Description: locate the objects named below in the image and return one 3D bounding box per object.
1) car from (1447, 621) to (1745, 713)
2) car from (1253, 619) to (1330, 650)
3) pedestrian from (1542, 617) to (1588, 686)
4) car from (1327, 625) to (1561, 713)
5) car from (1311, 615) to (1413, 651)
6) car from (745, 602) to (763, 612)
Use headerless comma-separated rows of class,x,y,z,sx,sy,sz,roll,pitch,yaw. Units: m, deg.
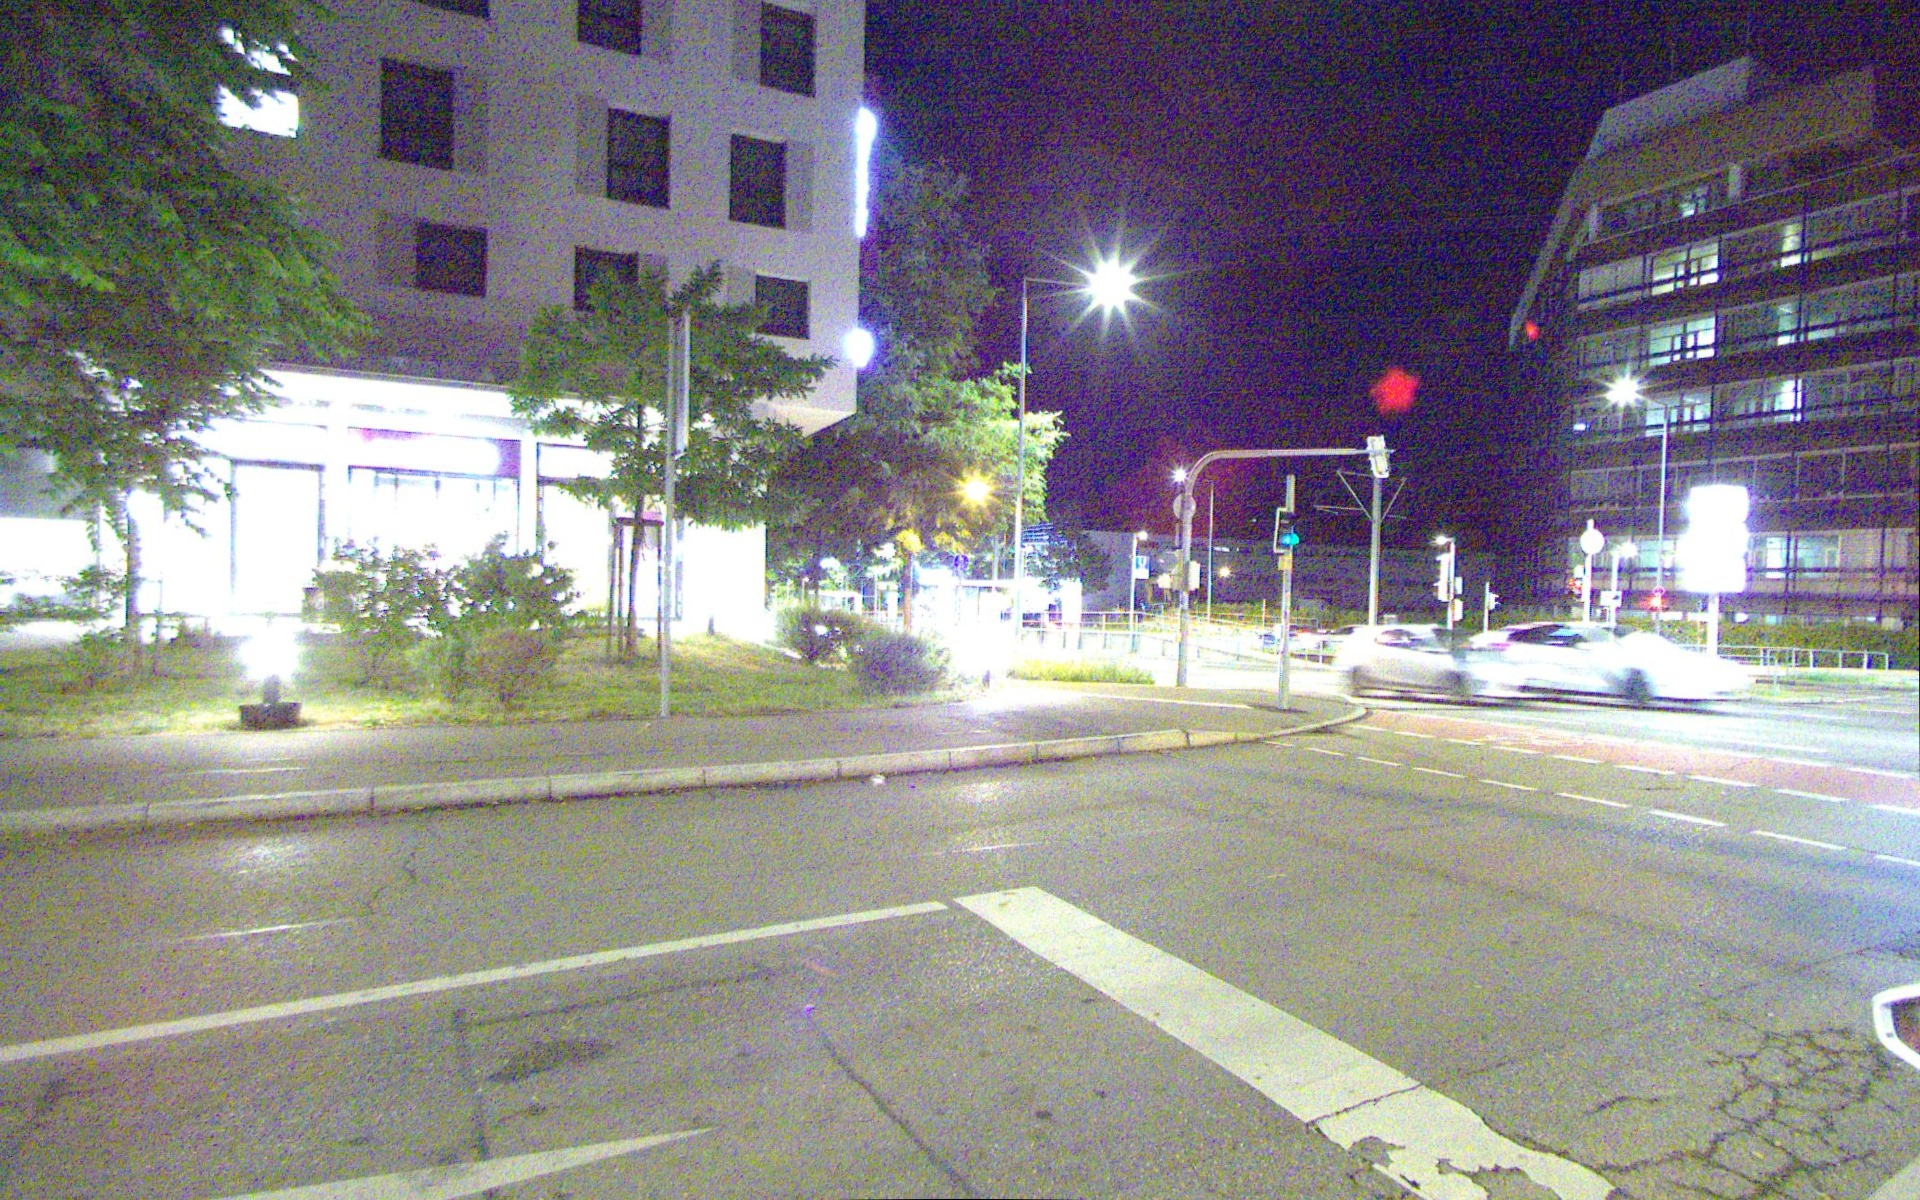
car,12.497,1.232,20.167,1.722,1.620,4.905,0,-1,-26
car,18.888,1.951,57.412,1.779,1.606,4.221,3,-1,-25
pedestrian,15.611,1.318,25.938,0.693,1.745,0.679,2,0,-5
car,9.258,1.250,19.536,1.722,1.456,3.889,1,-1,-26
car,19.547,1.574,49.016,1.823,1.606,4.553,0,0,-27
car,-33.465,1.128,162.935,1.845,1.506,3.822,3,0,-26
